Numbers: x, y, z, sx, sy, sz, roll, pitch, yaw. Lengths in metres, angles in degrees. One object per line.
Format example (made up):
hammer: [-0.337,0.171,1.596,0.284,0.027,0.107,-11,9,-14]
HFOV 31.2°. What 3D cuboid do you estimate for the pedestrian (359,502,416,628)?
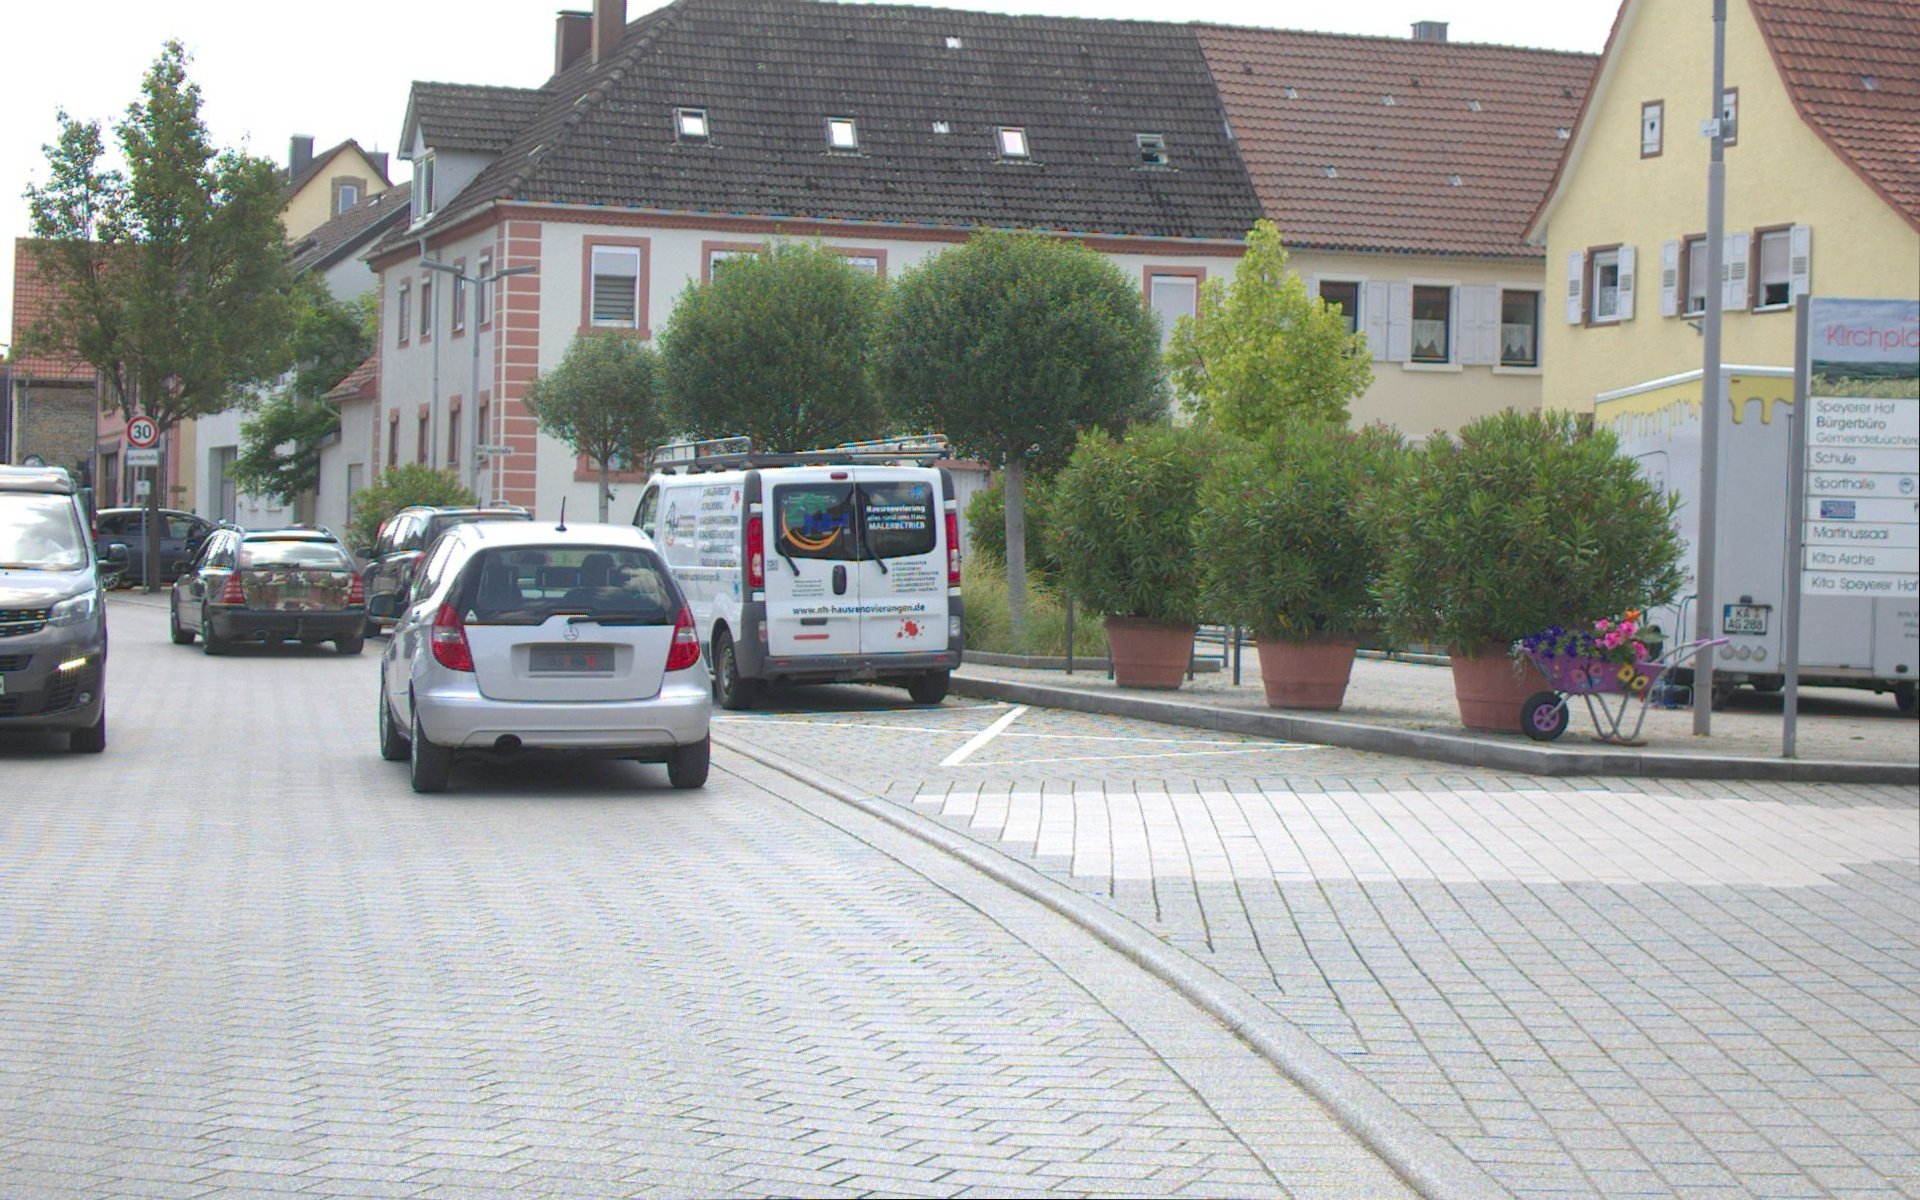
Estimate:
pedestrian: [-7.445,-0.458,44.687,0.638,1.623,0.620,1,1,-17]

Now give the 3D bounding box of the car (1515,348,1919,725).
car: [7.188,-0.535,31.183,2.752,2.953,7.115,2,1,-3]

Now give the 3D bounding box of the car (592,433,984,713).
car: [-1.590,-0.293,29.489,1.942,2.170,5.103,-1,2,-20]

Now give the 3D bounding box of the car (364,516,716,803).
car: [-2.742,0.301,21.685,1.768,1.589,4.001,1,1,-13]

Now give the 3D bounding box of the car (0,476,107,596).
car: [-15.754,-1.096,58.798,1.768,1.881,4.448,4,0,-19]

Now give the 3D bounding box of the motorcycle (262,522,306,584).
motorcycle: [-12.649,-0.885,64.334,0.523,1.119,1.068,1,2,-27]

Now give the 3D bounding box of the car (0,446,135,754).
car: [-7.025,-0.075,24.630,1.993,2.006,4.741,1,2,-12]

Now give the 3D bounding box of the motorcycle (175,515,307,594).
motorcycle: [-13.010,-0.831,62.185,2.221,1.390,0.871,1,1,23]

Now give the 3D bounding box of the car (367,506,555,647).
car: [-5.955,-0.317,40.645,1.768,1.559,4.420,1,1,-14]

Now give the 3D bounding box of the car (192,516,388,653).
car: [-7.590,-0.207,38.694,1.944,1.402,4.001,1,1,-14]

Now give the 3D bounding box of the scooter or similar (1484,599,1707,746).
scooter or similar: [3.976,0.449,21.569,1.141,0.878,0.816,1,1,-10]

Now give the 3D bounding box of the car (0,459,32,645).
car: [-11.856,-0.597,39.066,1.993,2.006,4.741,0,2,-22]
